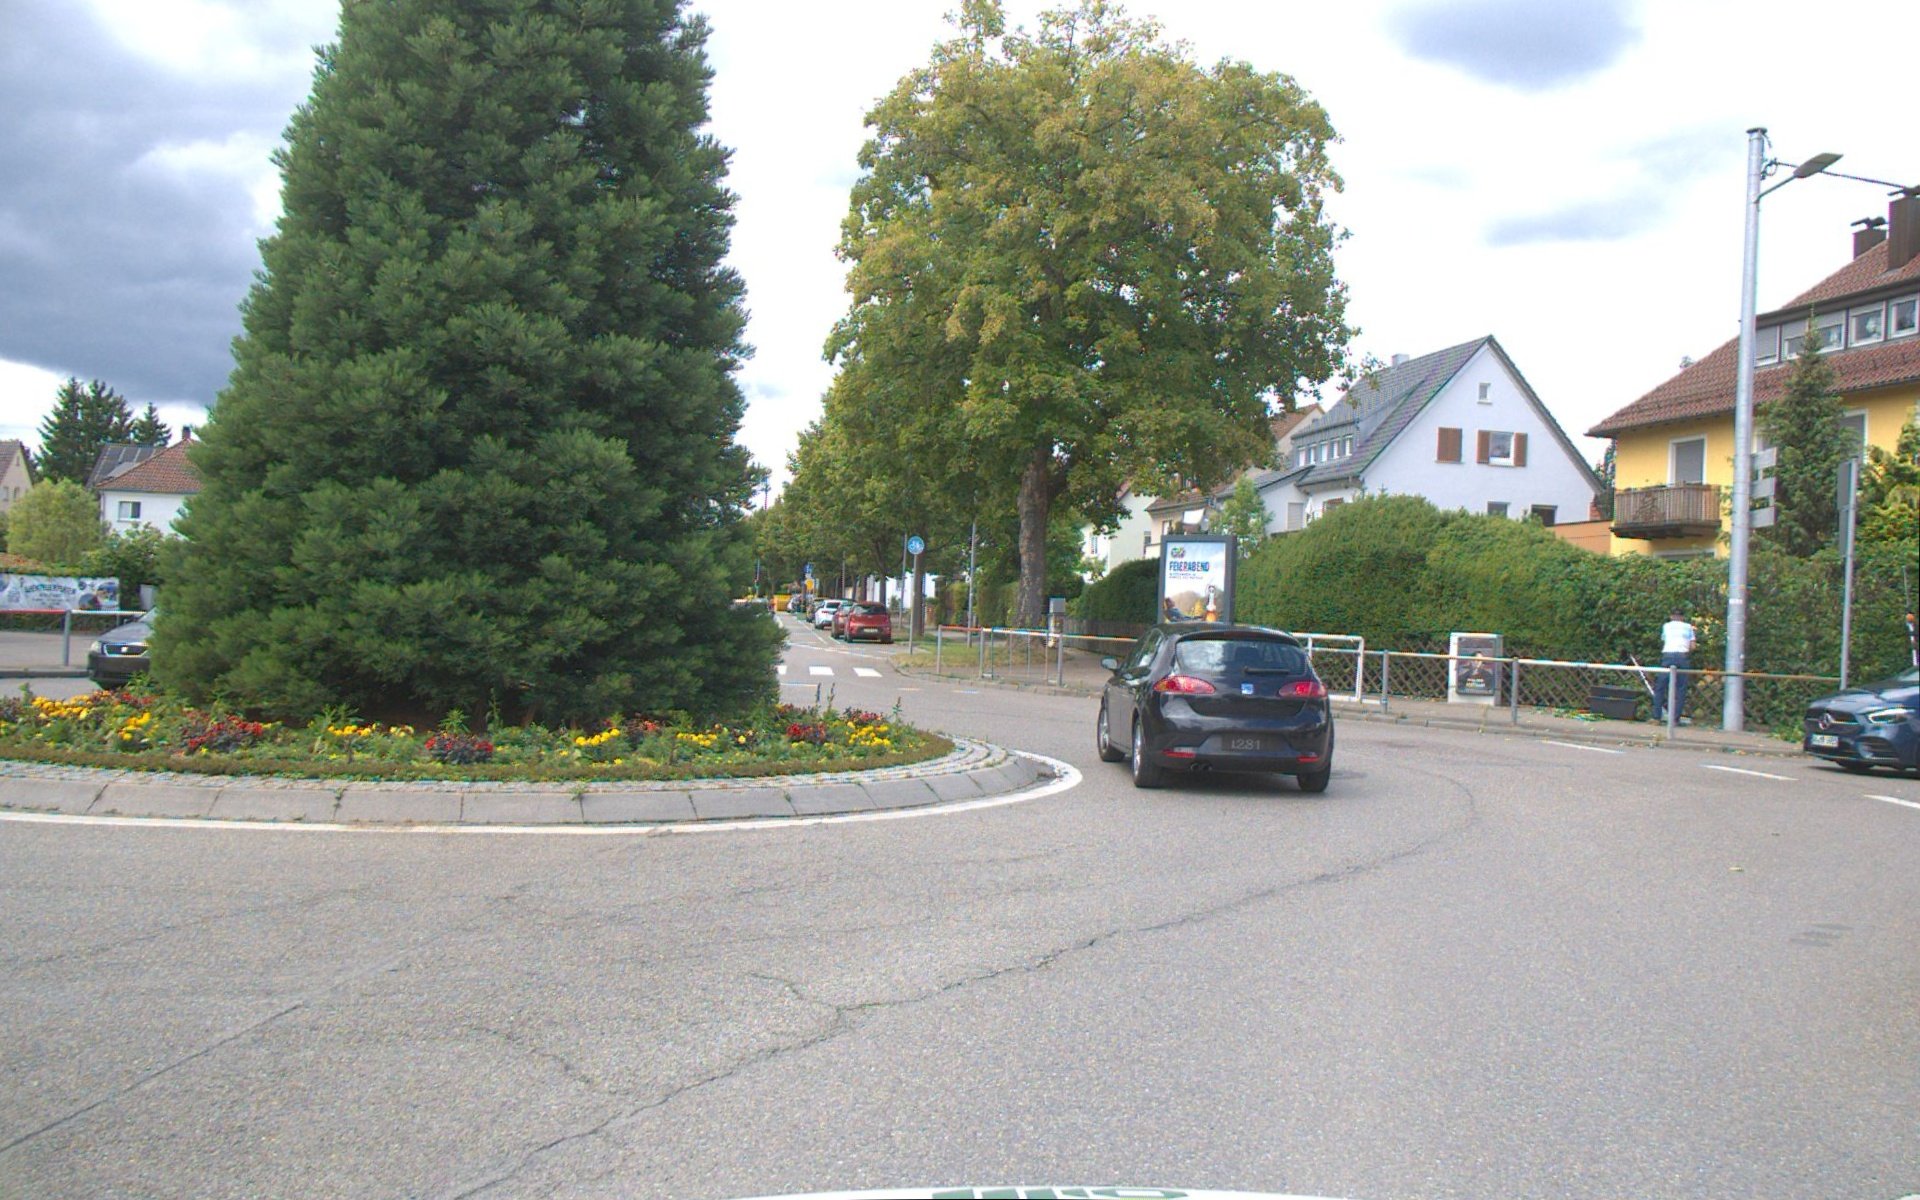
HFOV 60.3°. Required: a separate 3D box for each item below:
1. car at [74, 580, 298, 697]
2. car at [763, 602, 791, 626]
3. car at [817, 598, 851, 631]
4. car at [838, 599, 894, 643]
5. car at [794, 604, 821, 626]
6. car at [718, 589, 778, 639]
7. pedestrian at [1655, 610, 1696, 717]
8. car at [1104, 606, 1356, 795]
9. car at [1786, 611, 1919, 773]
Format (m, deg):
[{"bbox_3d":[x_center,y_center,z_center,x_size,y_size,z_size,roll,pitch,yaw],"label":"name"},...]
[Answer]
[{"bbox_3d":[-11.223,0.524,24.234,1.562,1.536,3.600,2,0,0],"label":"car"},{"bbox_3d":[-12.629,0.937,114.039,1.566,1.537,3.590,1,0,-11],"label":"car"},{"bbox_3d":[-6.280,0.699,82.146,1.564,1.537,3.595,1,0,-6],"label":"car"},{"bbox_3d":[-3.483,0.747,60.834,1.450,1.515,3.370,2,0,-14],"label":"car"},{"bbox_3d":[-11.210,1.127,121.722,1.566,1.537,3.590,1,0,-11],"label":"car"},{"bbox_3d":[-7.678,0.484,59.656,1.957,1.641,3.991,2,0,-9],"label":"car"},{"bbox_3d":[10.612,0.934,24.535,0.480,1.560,0.485,2,0,18],"label":"pedestrian"},{"bbox_3d":[2.408,0.839,15.691,1.697,1.512,4.000,1,0,0],"label":"car"},{"bbox_3d":[11.850,1.082,18.591,4.311,1.690,1.649,3,0,-4],"label":"car"}]
